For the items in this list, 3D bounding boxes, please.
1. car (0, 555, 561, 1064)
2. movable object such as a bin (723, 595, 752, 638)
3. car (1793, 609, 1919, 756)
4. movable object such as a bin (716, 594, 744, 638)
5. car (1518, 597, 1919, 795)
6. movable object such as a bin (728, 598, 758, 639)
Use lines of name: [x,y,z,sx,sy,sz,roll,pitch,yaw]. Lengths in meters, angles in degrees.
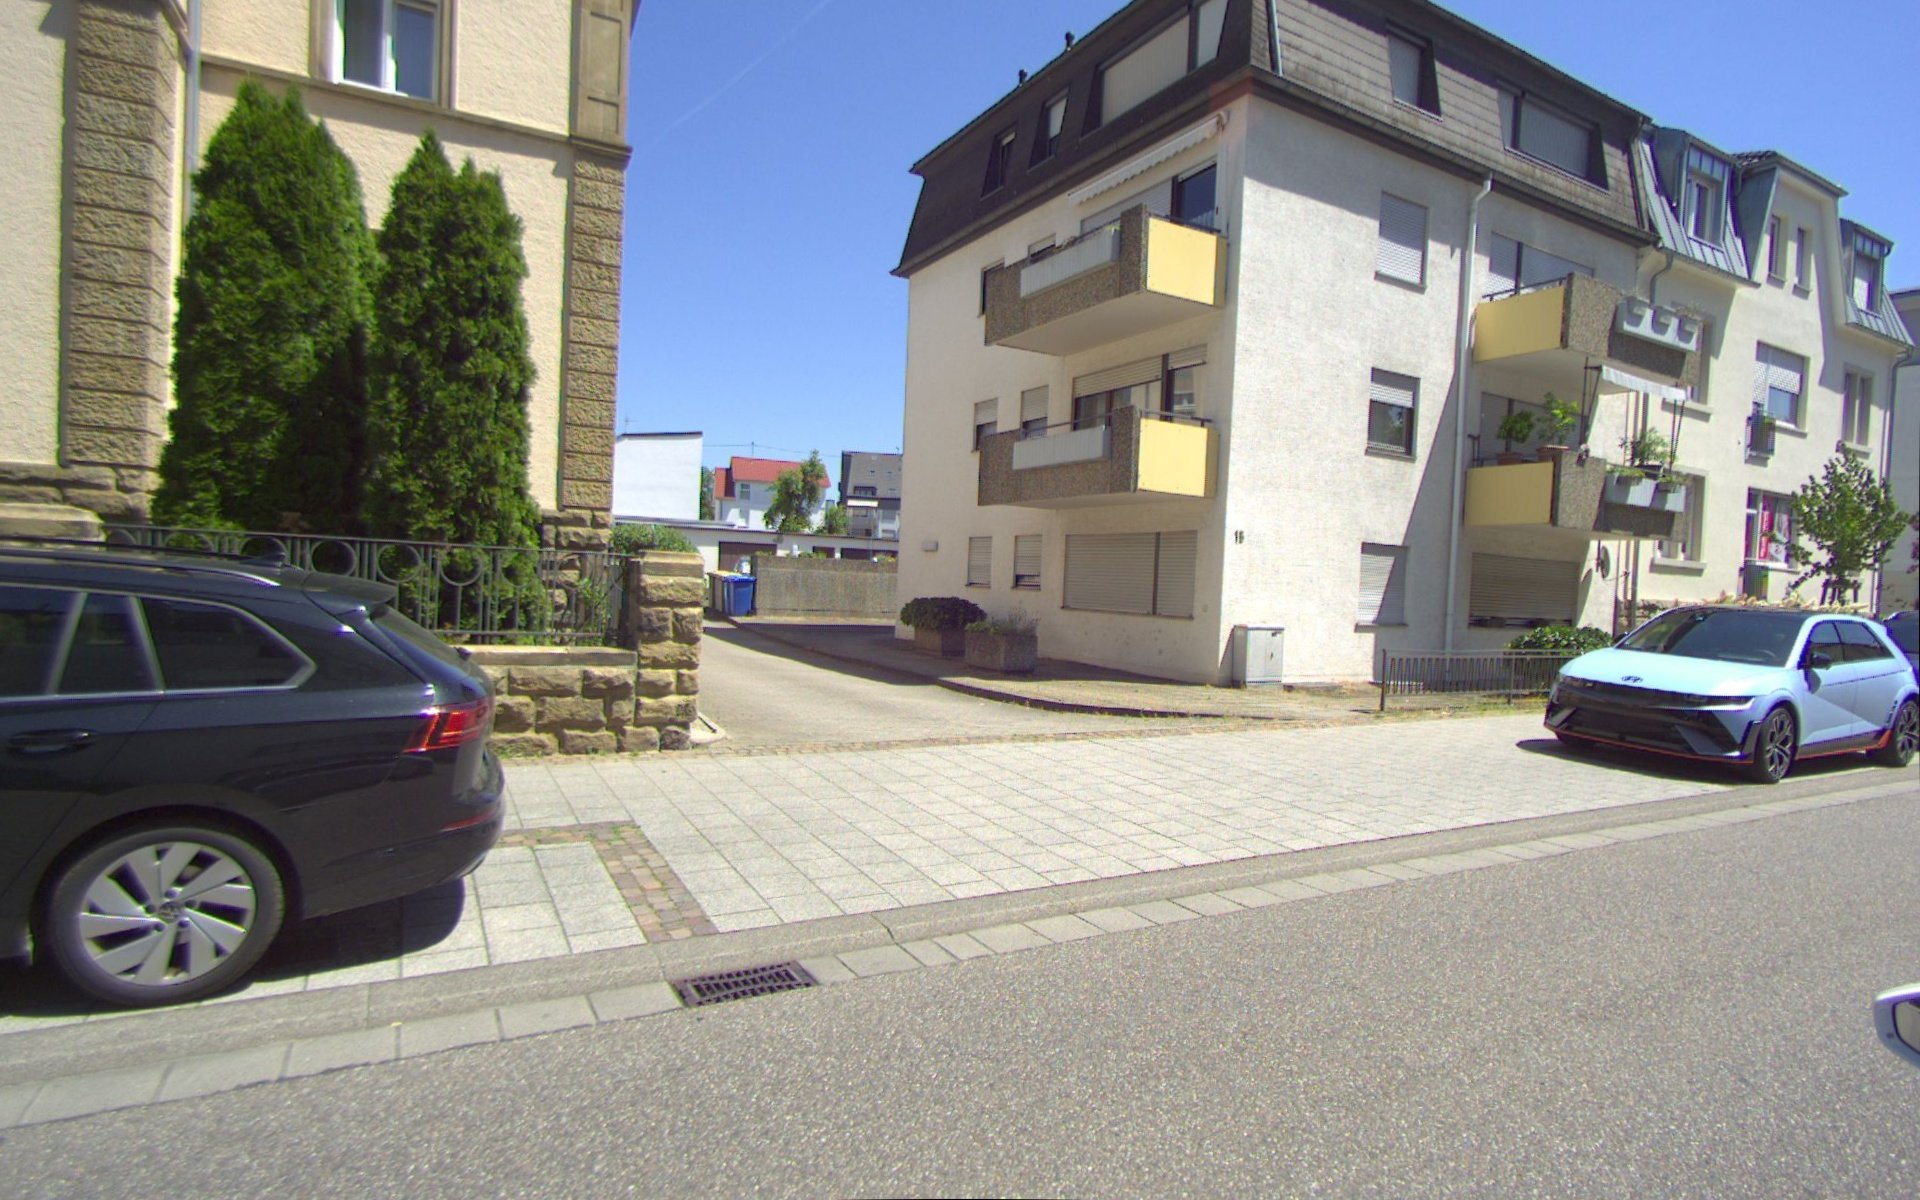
car: [-3.977,0.593,3.469,4.603,1.456,1.916,2,3,-30]
movable object such as a bin: [-6.125,0.455,27.603,0.637,1.144,0.492,2,1,-30]
car: [13.180,1.057,13.317,4.517,1.641,1.716,2,4,-30]
movable object such as a bin: [-6.438,0.446,28.093,0.637,1.199,0.492,2,1,-30]
car: [8.262,0.886,10.652,4.603,1.594,1.916,2,3,-30]
movable object such as a bin: [-5.860,0.499,27.131,0.637,1.091,0.492,2,1,-30]
